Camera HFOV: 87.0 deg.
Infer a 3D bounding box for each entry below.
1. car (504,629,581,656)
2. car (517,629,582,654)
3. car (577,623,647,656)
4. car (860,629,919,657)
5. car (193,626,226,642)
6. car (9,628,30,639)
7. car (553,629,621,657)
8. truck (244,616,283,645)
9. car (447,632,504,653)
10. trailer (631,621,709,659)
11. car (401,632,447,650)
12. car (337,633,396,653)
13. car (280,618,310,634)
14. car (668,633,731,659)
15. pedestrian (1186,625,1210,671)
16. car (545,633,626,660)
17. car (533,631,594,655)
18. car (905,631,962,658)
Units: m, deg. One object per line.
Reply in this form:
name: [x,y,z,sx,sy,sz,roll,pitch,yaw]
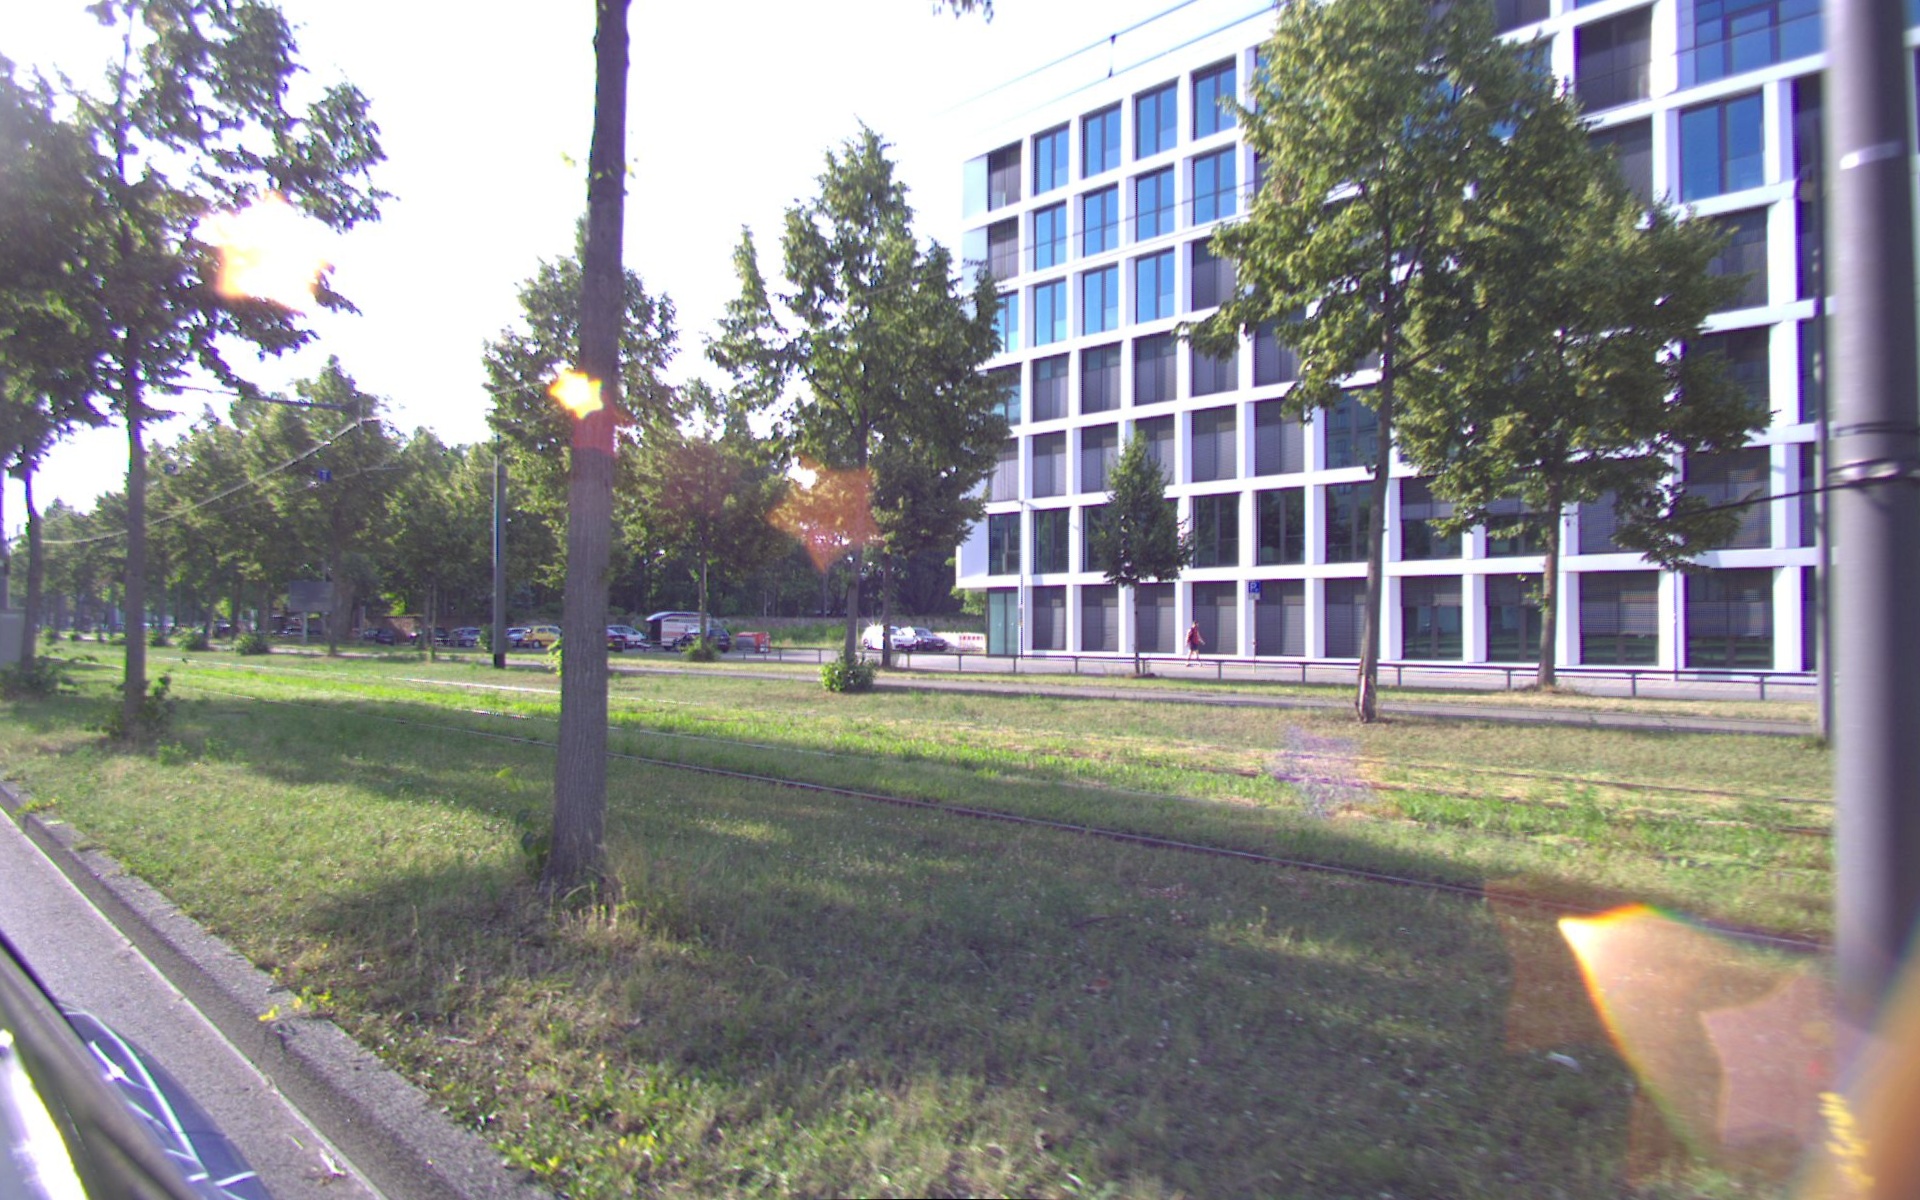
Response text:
car: [-31.031,3.131,75.361,1.886,1.748,5.004,-1,0,43]
car: [-29.660,2.998,73.139,1.856,1.572,3.943,-1,0,43]
car: [-22.568,2.534,65.803,1.757,1.962,3.950,-1,0,41]
car: [-4.495,2.688,64.082,1.824,1.608,4.008,-1,0,-38]
car: [-74.262,3.364,100.156,4.474,1.442,1.811,-1,0,42]
car: [-130.542,4.642,140.477,4.811,1.487,1.664,-1,-4,42]
car: [-24.938,2.832,67.754,1.757,1.655,3.950,-1,0,41]
truck: [-90.217,3.920,130.960,2.855,3.542,7.950,-1,0,-44]
car: [-38.921,3.421,81.397,3.810,1.497,1.746,-1,0,-41]
trailer: [-17.814,2.431,62.339,1.758,2.069,4.315,-1,0,44]
car: [-46.241,3.518,87.312,4.352,1.453,1.770,-1,0,36]
car: [-46.629,3.389,79.508,3.998,1.446,1.679,-1,0,15]
car: [-75.167,2.911,114.399,4.474,1.624,1.811,-1,0,42]
car: [-15.254,2.660,59.215,3.756,1.403,1.663,-1,0,38]
pedestrian: [9.163,1.827,39.027,0.691,1.741,0.561,-1,0,41]
car: [-20.979,2.599,56.796,3.961,1.437,1.768,-1,0,14]
car: [-27.263,2.943,69.687,1.725,1.436,3.530,-1,0,42]
car: [-1.728,2.825,65.466,1.662,1.569,4.009,-1,0,-37]
